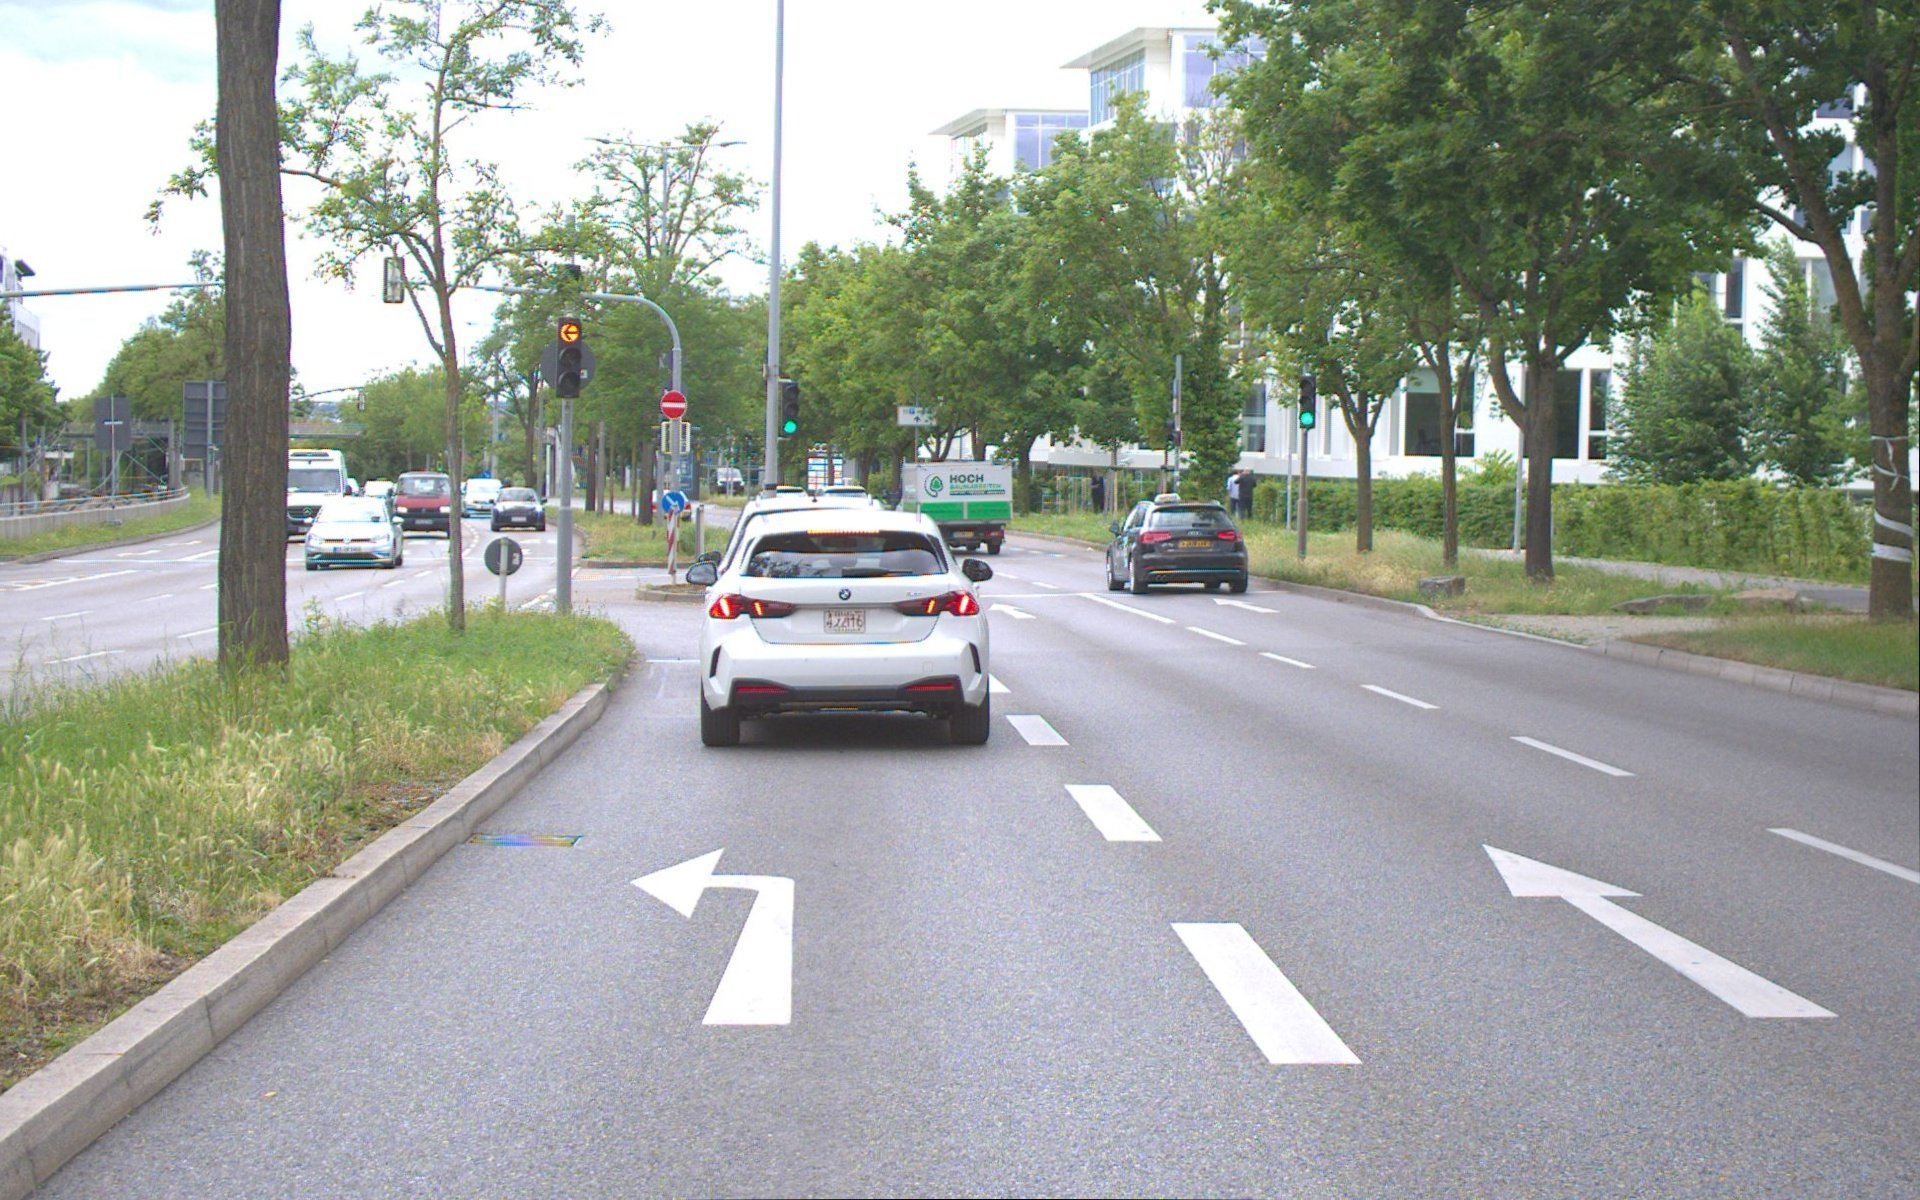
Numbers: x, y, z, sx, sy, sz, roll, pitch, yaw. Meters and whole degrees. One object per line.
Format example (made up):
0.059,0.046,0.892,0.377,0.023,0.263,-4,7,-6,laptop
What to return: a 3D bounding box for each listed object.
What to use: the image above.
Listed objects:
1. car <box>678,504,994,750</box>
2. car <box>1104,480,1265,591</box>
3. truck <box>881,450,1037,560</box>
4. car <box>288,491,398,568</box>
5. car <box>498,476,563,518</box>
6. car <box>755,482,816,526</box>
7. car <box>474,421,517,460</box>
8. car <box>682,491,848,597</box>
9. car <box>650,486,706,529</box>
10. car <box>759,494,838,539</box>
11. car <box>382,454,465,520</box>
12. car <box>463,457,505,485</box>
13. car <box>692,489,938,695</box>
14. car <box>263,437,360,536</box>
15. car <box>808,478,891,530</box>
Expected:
-0.723,0.118,22.544,1.863,1.444,4.000,1,1,1,car
3.378,-1.008,52.457,1.993,1.590,4.001,1,2,-3,car
-0.087,-2.266,82.437,2.858,2.510,6.289,1,1,-8,truck
-12.558,-1.464,70.126,1.753,1.439,4.136,2,2,-5,car
-14.176,-3.398,113.601,1.753,1.366,3.780,0,2,-2,car
-6.111,-3.363,119.845,1.993,1.485,4.001,1,2,-4,car
-25.350,-8.683,187.726,1.993,2.004,4.325,2,2,-5,car
-2.874,-0.854,51.529,1.994,1.503,4.000,1,1,4,car
-10.405,-3.431,127.188,1.993,1.485,4.001,1,2,-4,car
-5.533,-2.868,117.389,1.993,1.503,4.002,0,2,-13,car
-16.075,-3.386,103.247,1.935,1.911,4.974,1,2,-3,car
-28.362,-7.686,204.947,1.993,1.612,4.001,2,2,-2,car
-1.224,-0.111,30.172,1.993,1.666,4.000,1,1,-1,car
-18.311,-3.221,97.296,1.993,2.625,5.876,2,2,-5,car
-3.315,-2.872,102.205,1.993,1.503,4.001,0,2,-9,car
